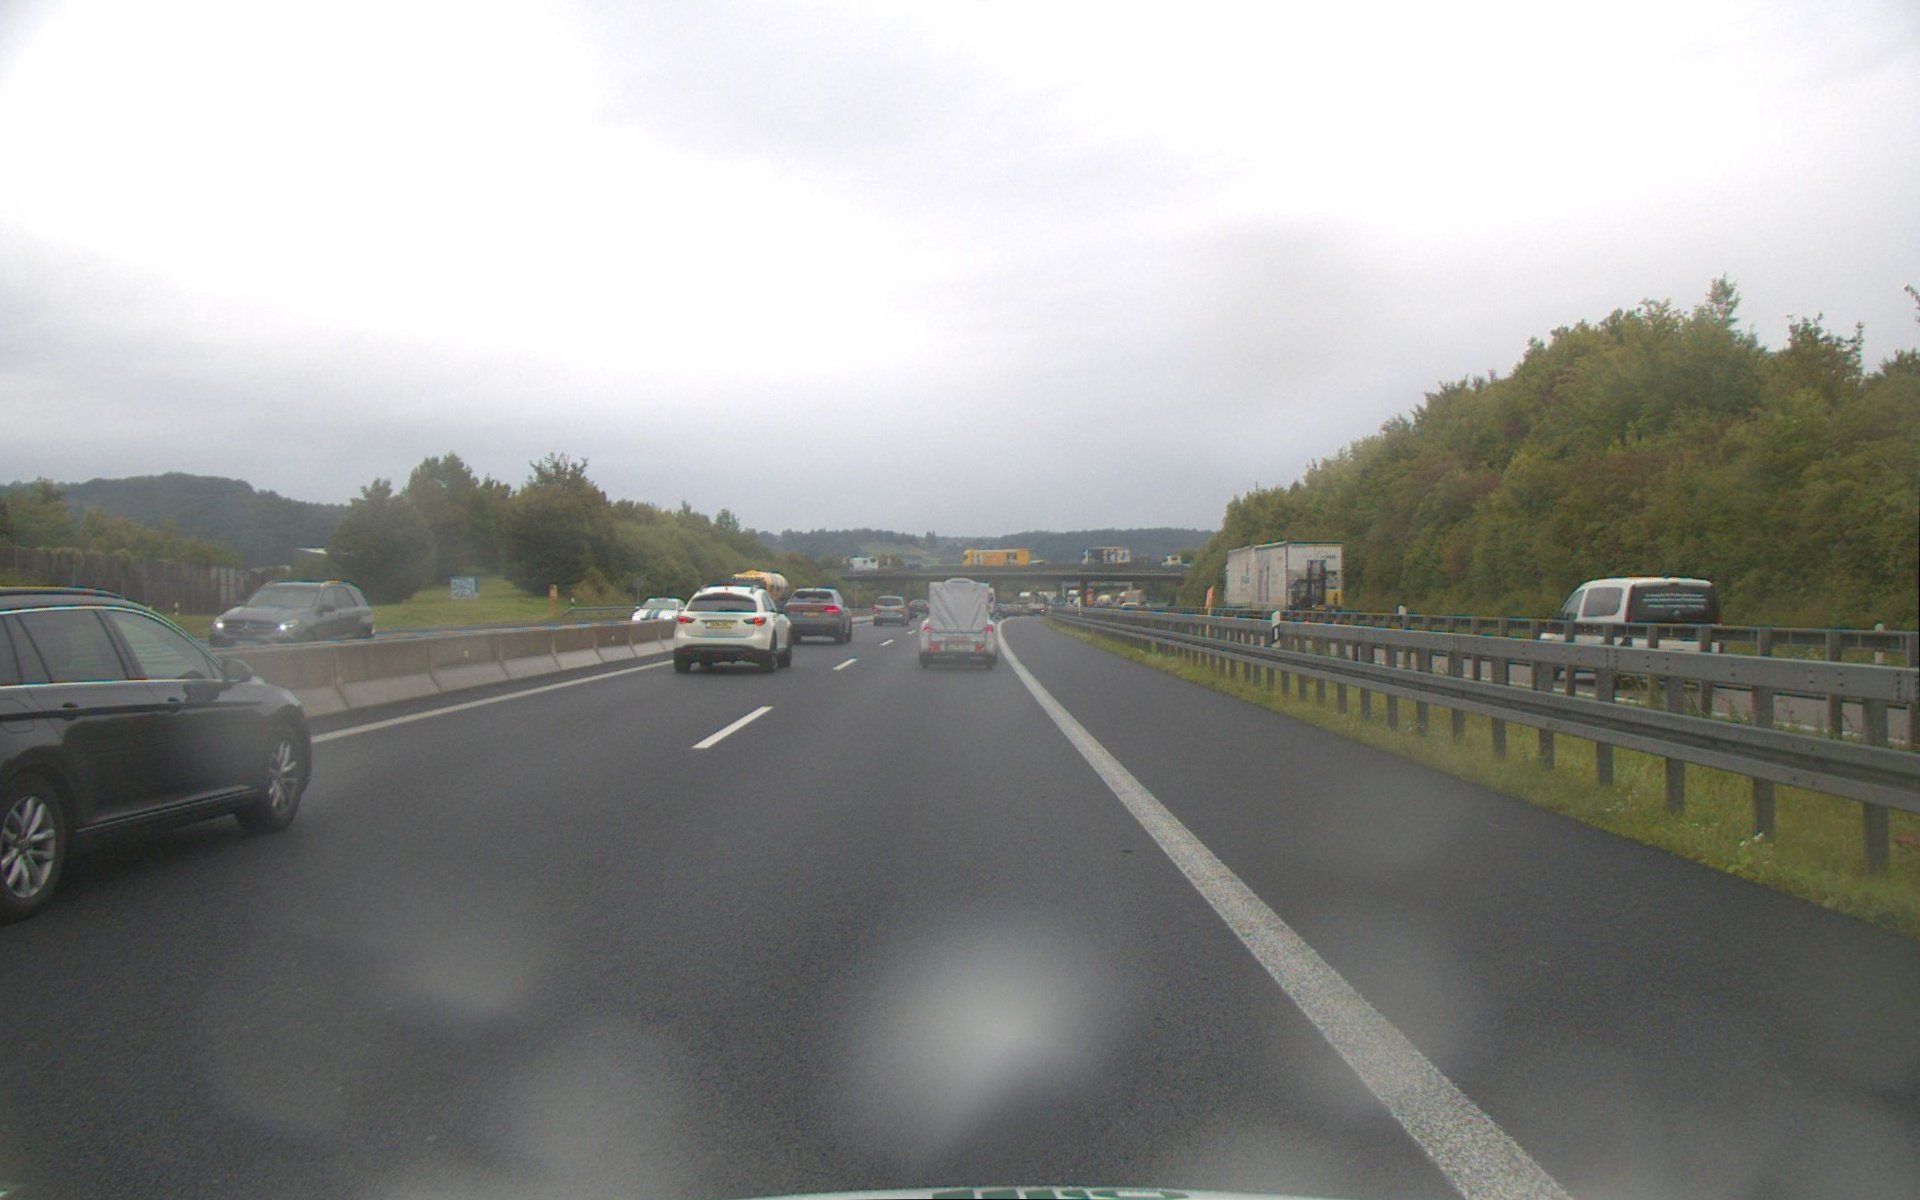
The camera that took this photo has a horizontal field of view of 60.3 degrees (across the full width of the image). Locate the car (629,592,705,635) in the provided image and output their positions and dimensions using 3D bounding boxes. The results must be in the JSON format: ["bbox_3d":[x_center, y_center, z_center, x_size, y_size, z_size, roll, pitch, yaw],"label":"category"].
[{"bbox_3d":[-12.276,0.525,69.652,2.134,1.725,4.866,0,0,2],"label":"car"}]

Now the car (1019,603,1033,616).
[{"bbox_3d":[9.573,1.330,240.205,1.952,1.780,4.001,1,0,2],"label":"car"}]

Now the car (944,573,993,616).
[{"bbox_3d":[0.617,-0.375,106.709,2.954,2.662,6.076,0,0,2],"label":"car"}]

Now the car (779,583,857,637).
[{"bbox_3d":[-4.470,0.303,52.766,2.130,1.660,4.500,0,0,0],"label":"car"}]

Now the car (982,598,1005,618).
[{"bbox_3d":[3.262,0.769,159.898,1.953,1.780,3.998,1,0,-2],"label":"car"}]

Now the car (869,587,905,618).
[{"bbox_3d":[-3.968,0.123,90.842,1.862,1.641,4.016,0,0,-1],"label":"car"}]

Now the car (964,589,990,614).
[{"bbox_3d":[1.464,0.108,140.870,1.953,2.071,4.150,1,0,-2],"label":"car"}]

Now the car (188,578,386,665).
[{"bbox_3d":[-14.282,0.420,35.437,2.134,1.725,4.734,0,0,2],"label":"car"}]

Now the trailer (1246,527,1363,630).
[{"bbox_3d":[15.548,-0.952,75.590,3.366,4.364,10.455,0,0,1],"label":"trailer"}]

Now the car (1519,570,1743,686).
[{"bbox_3d":[11.406,0.444,28.481,1.822,1.837,4.645,0,0,-2],"label":"car"}]

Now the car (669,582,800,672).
[{"bbox_3d":[-4.424,0.508,33.110,1.935,1.668,4.501,0,0,1],"label":"car"}]

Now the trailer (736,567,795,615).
[{"bbox_3d":[-14.845,-0.649,127.060,2.704,3.458,11.450,1,0,2],"label":"trailer"}]

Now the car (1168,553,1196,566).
[{"bbox_3d":[33.473,-6.135,249.461,1.824,1.948,3.946,1,0,-38],"label":"car"}]

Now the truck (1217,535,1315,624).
[{"bbox_3d":[15.762,-1.032,86.033,3.366,4.364,10.420,0,0,1],"label":"truck"}]

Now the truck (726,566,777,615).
[{"bbox_3d":[-15.118,-0.667,120.284,2.704,3.458,5.847,1,0,2],"label":"truck"}]

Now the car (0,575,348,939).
[{"bbox_3d":[-4.935,0.655,8.347,1.861,1.523,4.851,0,0,0],"label":"car"}]

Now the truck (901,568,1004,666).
[{"bbox_3d":[-0.061,0.334,37.834,1.977,2.020,7.215,0,0,3],"label":"truck"}]

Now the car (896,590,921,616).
[{"bbox_3d":[-3.772,0.203,122.153,1.804,1.851,3.999,0,0,-1],"label":"car"}]

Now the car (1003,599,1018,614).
[{"bbox_3d":[6.462,0.824,212.463,1.952,1.780,4.001,1,0,1],"label":"car"}]
